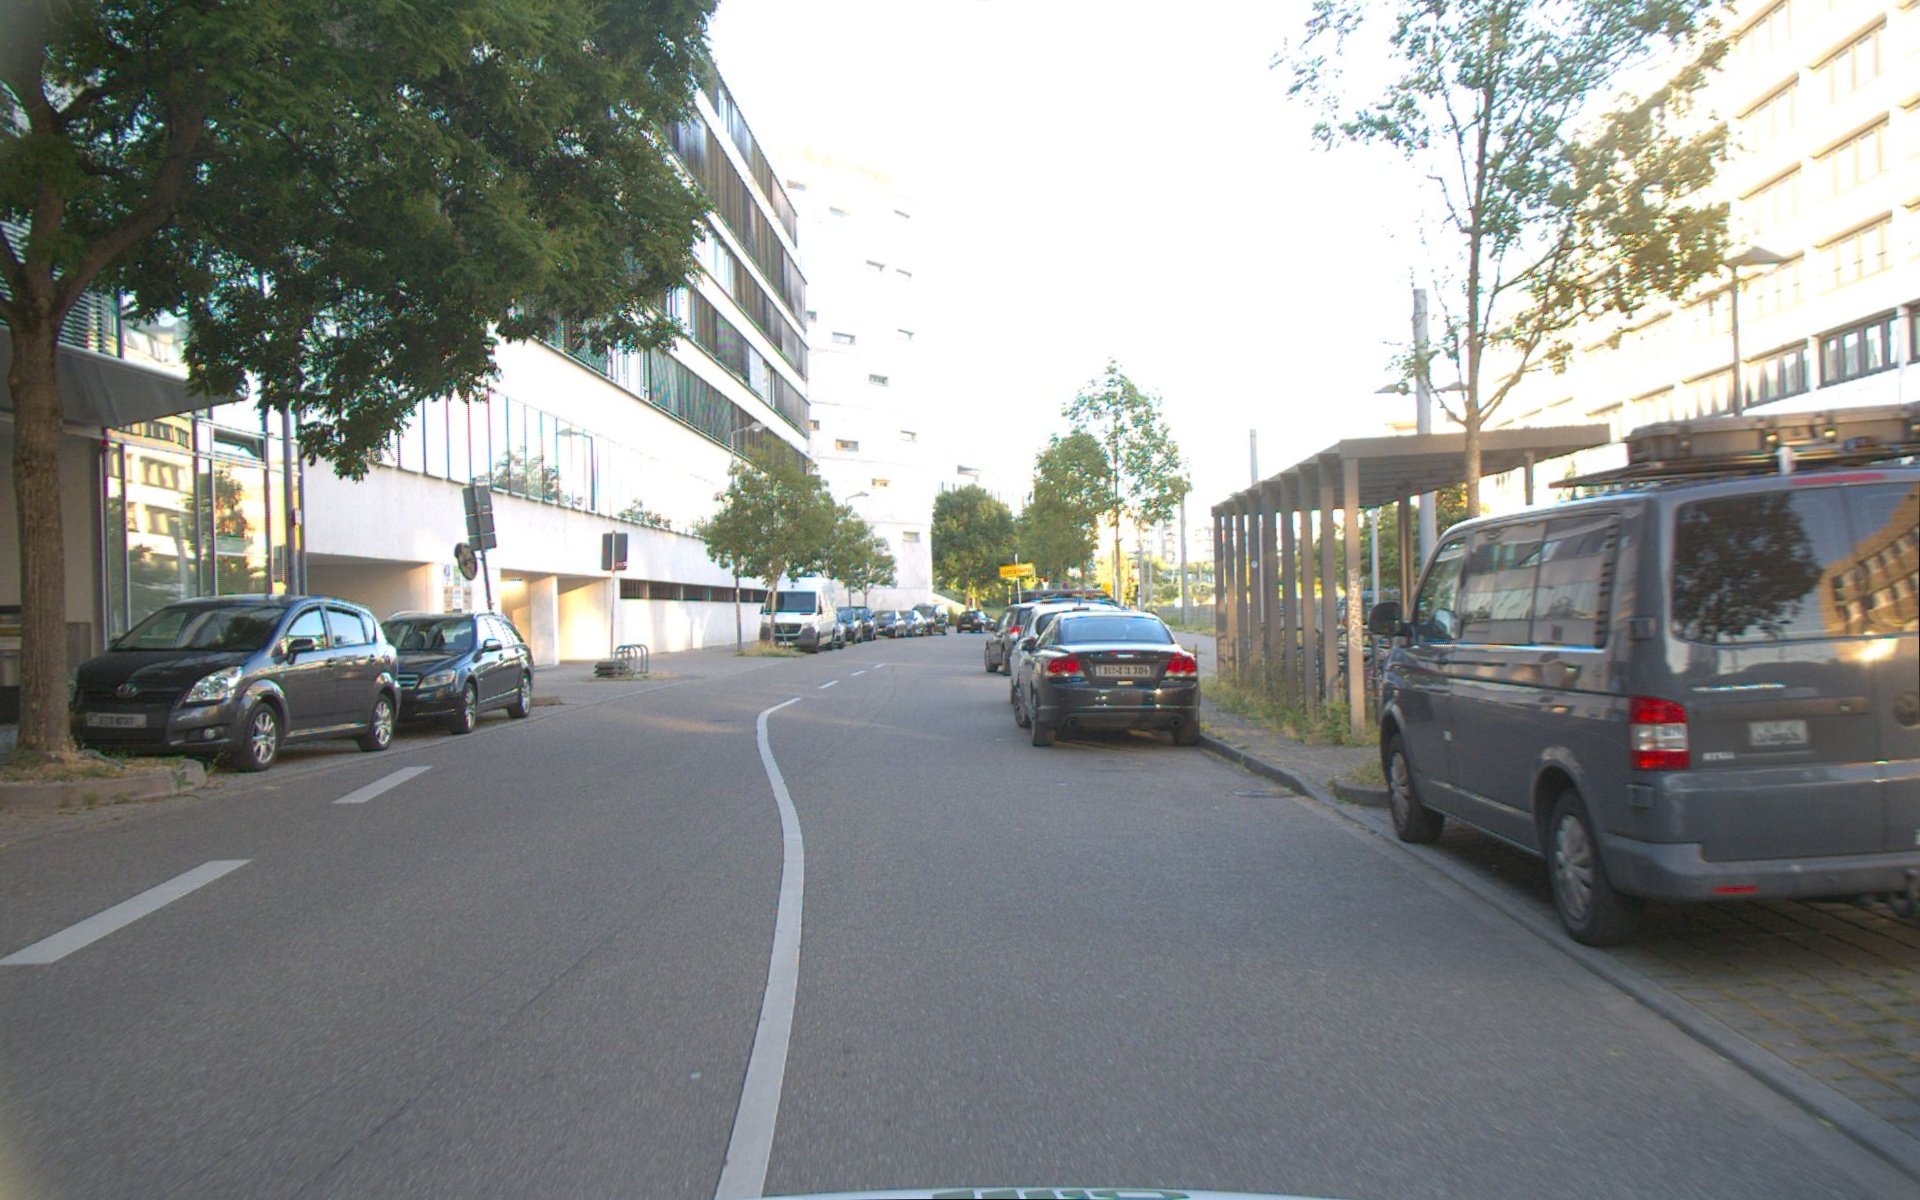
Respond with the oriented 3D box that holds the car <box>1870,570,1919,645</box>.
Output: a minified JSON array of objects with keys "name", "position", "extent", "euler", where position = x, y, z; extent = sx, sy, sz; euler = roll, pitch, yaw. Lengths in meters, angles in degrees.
[{"name":"car","position":[21.706,0.039,34.966],"extent":[3.905,1.513,1.676],"euler":[-4,-1,2]}]

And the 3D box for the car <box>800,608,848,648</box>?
[{"name":"car","position":[-5.264,1.062,64.327],"extent":[1.721,1.465,3.899],"euler":[1,0,-3]}]

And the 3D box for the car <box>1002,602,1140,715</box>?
[{"name":"car","position":[1.544,0.793,24.326],"extent":[1.642,1.477,4.186],"euler":[-1,0,-1]}]

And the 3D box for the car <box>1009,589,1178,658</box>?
[{"name":"car","position":[3.415,0.590,42.151],"extent":[3.952,1.547,1.905],"euler":[-2,-1,-34]}]

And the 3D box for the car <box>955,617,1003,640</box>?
[{"name":"car","position":[1.261,1.842,108.440],"extent":[1.903,1.407,4.401],"euler":[1,0,18]}]

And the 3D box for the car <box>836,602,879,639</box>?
[{"name":"car","position":[-4.887,0.979,79.400],"extent":[1.719,1.682,3.949],"euler":[1,0,1]}]

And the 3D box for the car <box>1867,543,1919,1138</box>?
[{"name":"car","position":[3.285,0.601,2.312],"extent":[1.672,1.608,4.480],"euler":[-3,0,3]}]

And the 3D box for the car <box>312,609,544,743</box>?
[{"name":"car","position":[-6.638,0.883,21.126],"extent":[1.680,1.477,4.397],"euler":[-1,0,-3]}]

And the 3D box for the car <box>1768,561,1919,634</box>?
[{"name":"car","position":[21.798,-0.092,39.694],"extent":[3.905,1.513,1.676],"euler":[-4,-1,2]}]

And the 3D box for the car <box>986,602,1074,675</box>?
[{"name":"car","position":[1.471,0.824,35.961],"extent":[1.696,1.491,3.999],"euler":[1,-1,0]}]

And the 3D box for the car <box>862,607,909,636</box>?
[{"name":"car","position":[-3.913,1.128,87.580],"extent":[1.686,1.483,4.275],"euler":[1,0,8]}]

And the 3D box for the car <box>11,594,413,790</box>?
[{"name":"car","position":[-6.933,0.764,15.899],"extent":[1.806,1.599,4.268],"euler":[-1,0,2]}]

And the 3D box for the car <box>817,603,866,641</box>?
[{"name":"car","position":[-5.216,0.942,73.036],"extent":[1.719,1.588,4.044],"euler":[1,0,2]}]

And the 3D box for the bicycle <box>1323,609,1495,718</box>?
[{"name":"bicycle","position":[4.808,0.677,17.752],"extent":[1.684,1.085,0.421],"euler":[-2,-1,1]}]

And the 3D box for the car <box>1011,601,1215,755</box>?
[{"name":"car","position":[1.586,0.772,18.645],"extent":[1.751,1.477,4.514],"euler":[-1,0,-2]}]

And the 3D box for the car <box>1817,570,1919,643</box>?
[{"name":"car","position":[21.784,0.078,37.335],"extent":[3.905,1.513,1.676],"euler":[-4,-1,2]}]

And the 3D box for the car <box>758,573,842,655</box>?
[{"name":"car","position":[-5.518,0.448,57.902],"extent":[1.917,2.663,6.895],"euler":[1,0,3]}]

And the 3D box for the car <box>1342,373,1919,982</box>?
[{"name":"car","position":[3.458,0.278,8.548],"extent":[1.767,2.214,4.735],"euler":[-3,0,0]}]

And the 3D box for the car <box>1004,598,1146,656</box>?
[{"name":"car","position":[3.386,0.806,48.279],"extent":[3.953,1.623,1.716],"euler":[1,-1,-35]}]

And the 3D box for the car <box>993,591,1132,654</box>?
[{"name":"car","position":[3.514,0.725,56.434],"extent":[4.544,2.071,1.851],"euler":[0,0,-33]}]

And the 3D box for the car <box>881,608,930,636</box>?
[{"name":"car","position":[-3.019,1.205,93.045],"extent":[1.685,1.483,4.698],"euler":[1,0,12]}]

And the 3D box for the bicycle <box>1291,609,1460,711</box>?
[{"name":"bicycle","position":[4.719,0.678,18.856],"extent":[1.769,1.085,0.487],"euler":[-2,-1,1]}]

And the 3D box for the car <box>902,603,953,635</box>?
[{"name":"car","position":[-1.896,1.079,98.162],"extent":[1.720,1.830,4.466],"euler":[1,0,17]}]
